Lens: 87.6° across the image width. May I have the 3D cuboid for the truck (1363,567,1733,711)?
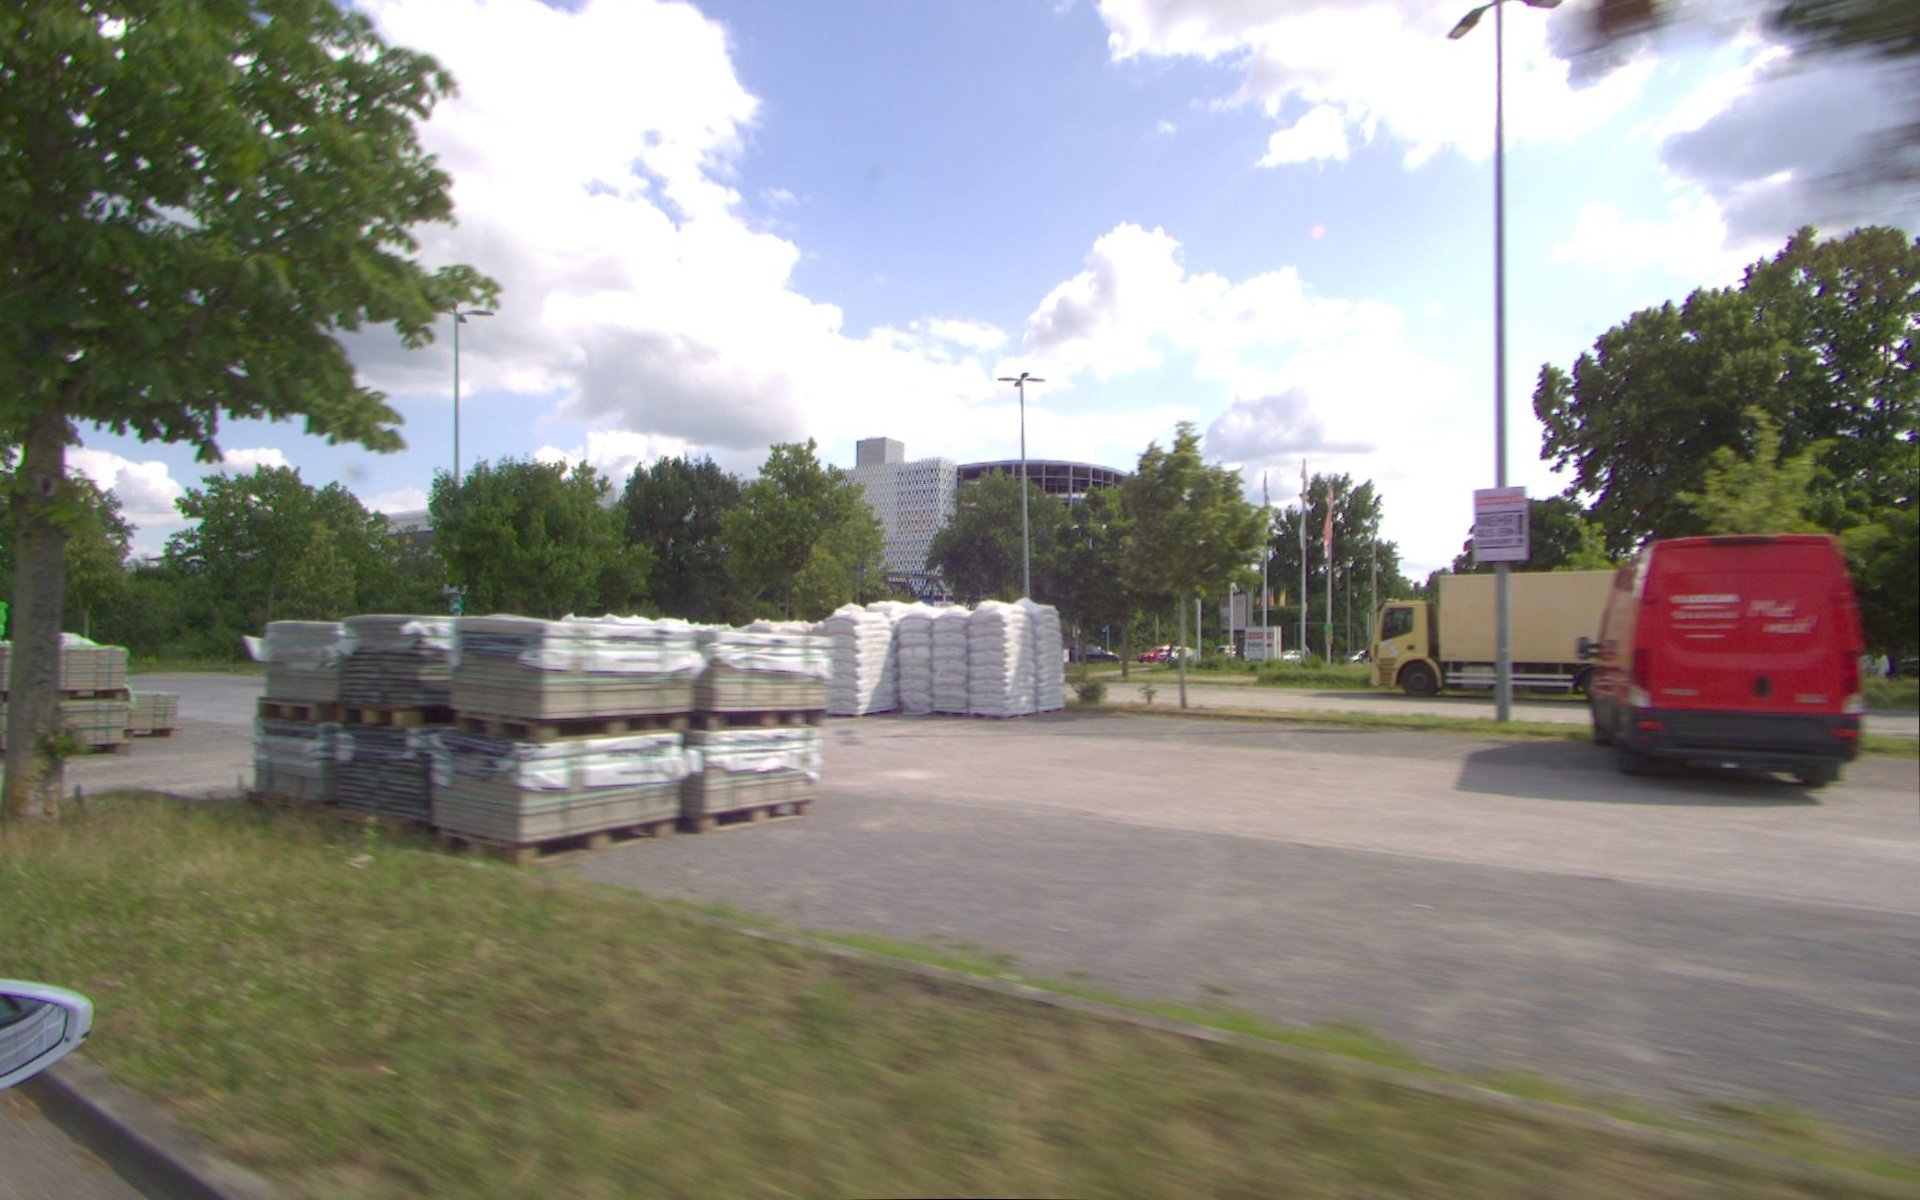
[{"bbox_3d":[16.673,1.047,29.022,8.913,3.645,2.715,0,-1,35],"label":"truck"}]

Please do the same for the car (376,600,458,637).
[{"bbox_3d":[-31.878,1.110,58.914,3.931,2.039,1.997,1,-2,-18],"label":"car"}]

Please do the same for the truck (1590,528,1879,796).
[{"bbox_3d":[9.194,0.682,12.422,2.085,2.547,5.422,0,-2,30],"label":"truck"}]
